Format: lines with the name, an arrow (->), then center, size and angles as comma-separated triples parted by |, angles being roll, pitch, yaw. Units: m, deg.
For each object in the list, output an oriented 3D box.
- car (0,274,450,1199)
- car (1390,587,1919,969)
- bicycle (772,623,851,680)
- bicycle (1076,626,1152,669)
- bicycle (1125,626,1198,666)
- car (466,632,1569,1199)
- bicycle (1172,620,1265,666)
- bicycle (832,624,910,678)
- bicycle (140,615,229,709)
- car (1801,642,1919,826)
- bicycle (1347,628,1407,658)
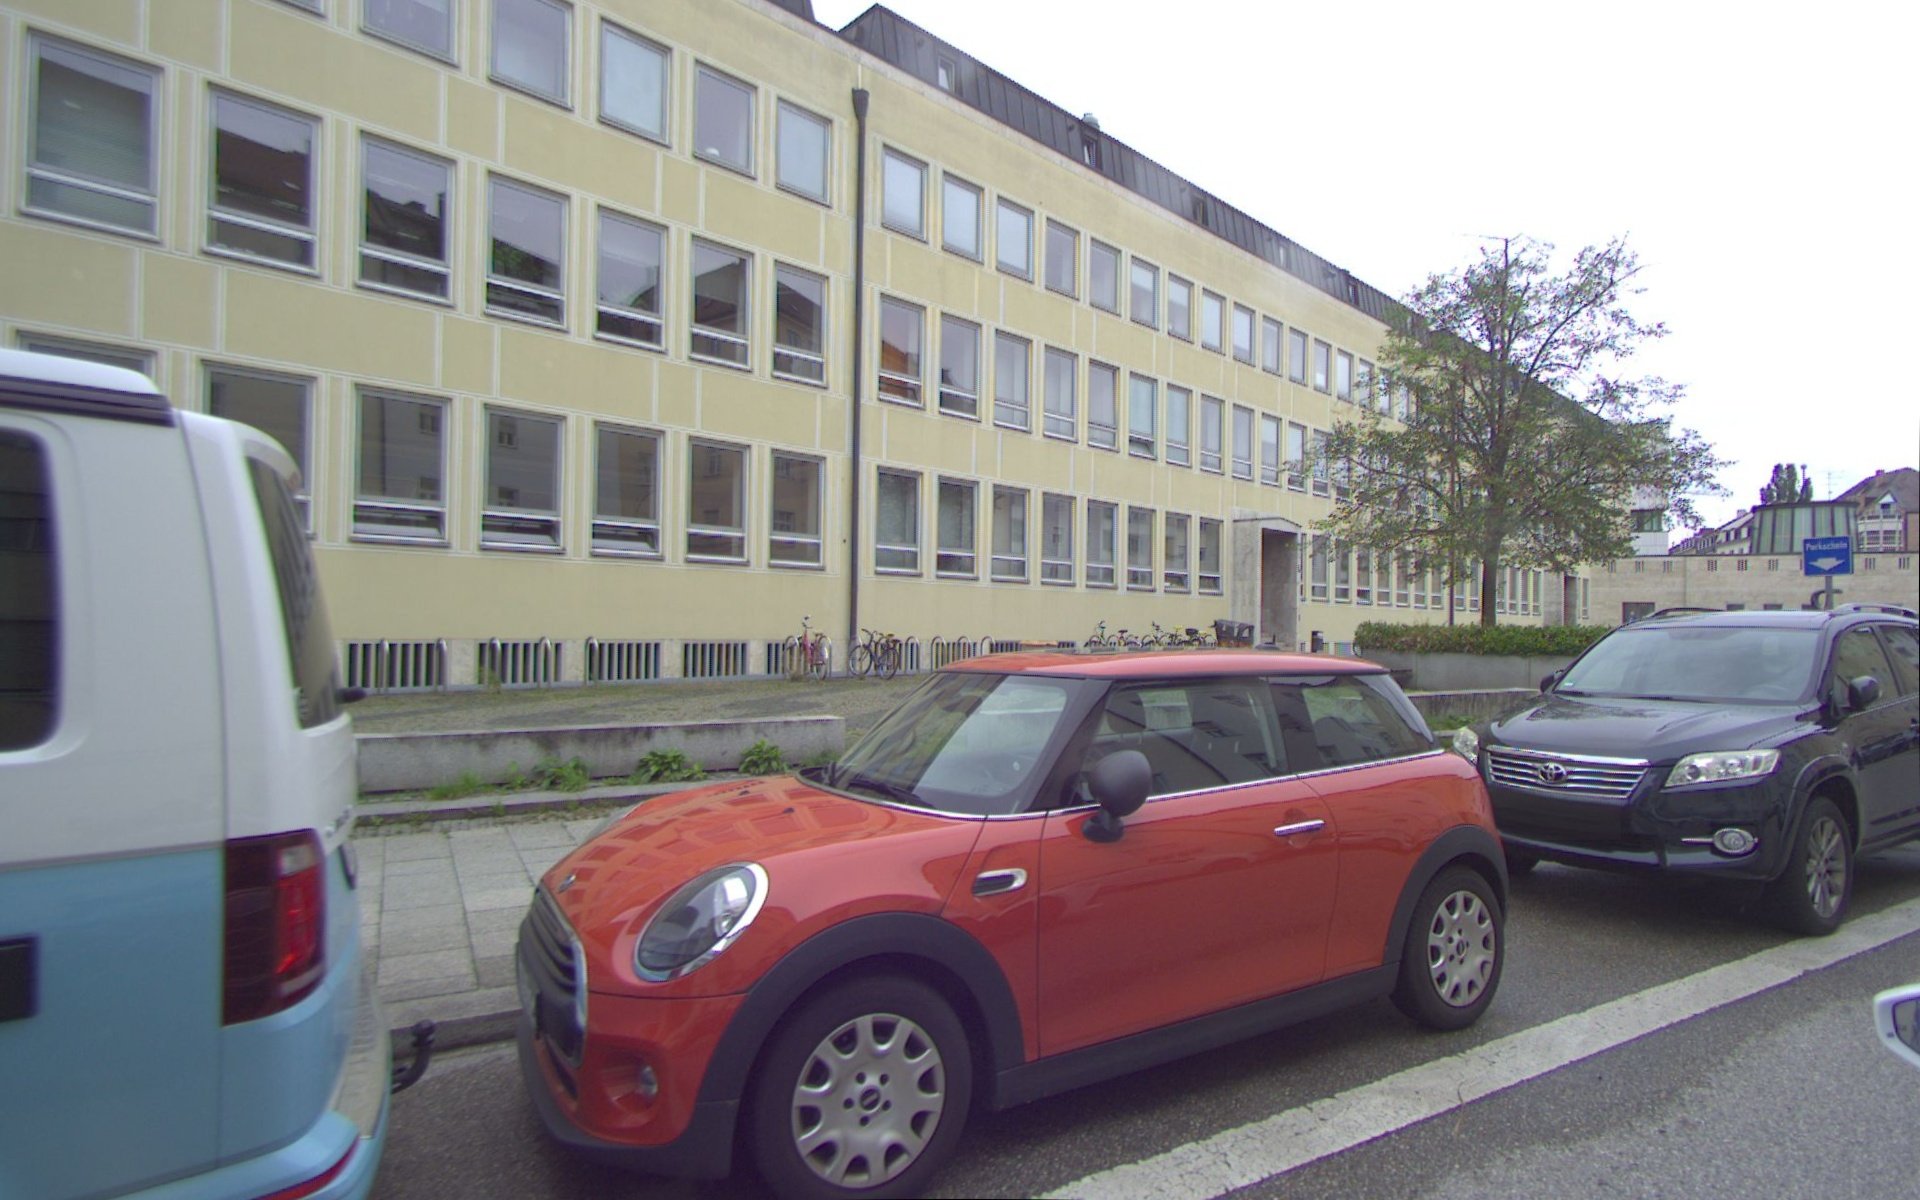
car -> -3.549, 0.479, 1.310 | 4.968, 2.005, 1.917 | 2, -2, -33
car -> 4.906, 0.897, 6.374 | 4.398, 1.687, 1.736 | 2, -4, -31
bicycle -> -2.920, 0.978, 19.662 | 0.620, 1.028, 1.931 | 1, -1, -39
bicycle -> 3.922, 1.194, 25.663 | 1.926, 1.028, 0.622 | 0, -1, 44
bicycle -> 5.499, 1.247, 27.448 | 1.926, 1.028, 0.622 | 0, -1, 44
car -> 0.343, 0.863, 3.812 | 3.872, 1.406, 1.735 | 1, 0, -30
bicycle -> 7.475, 1.225, 29.151 | 2.409, 1.265, 1.050 | 0, -1, 44
bicycle -> -1.854, 1.018, 20.609 | 0.620, 1.028, 1.931 | 1, -1, -39
bicycle -> -9.660, 0.737, 12.483 | 1.926, 1.028, 0.577 | 2, 0, 44
car -> 9.344, 1.109, 8.954 | 3.825, 1.472, 1.672 | 1, -3, -31
bicycle -> 14.901, 1.528, 35.928 | 0.620, 1.028, 1.930 | 1, -1, -40
